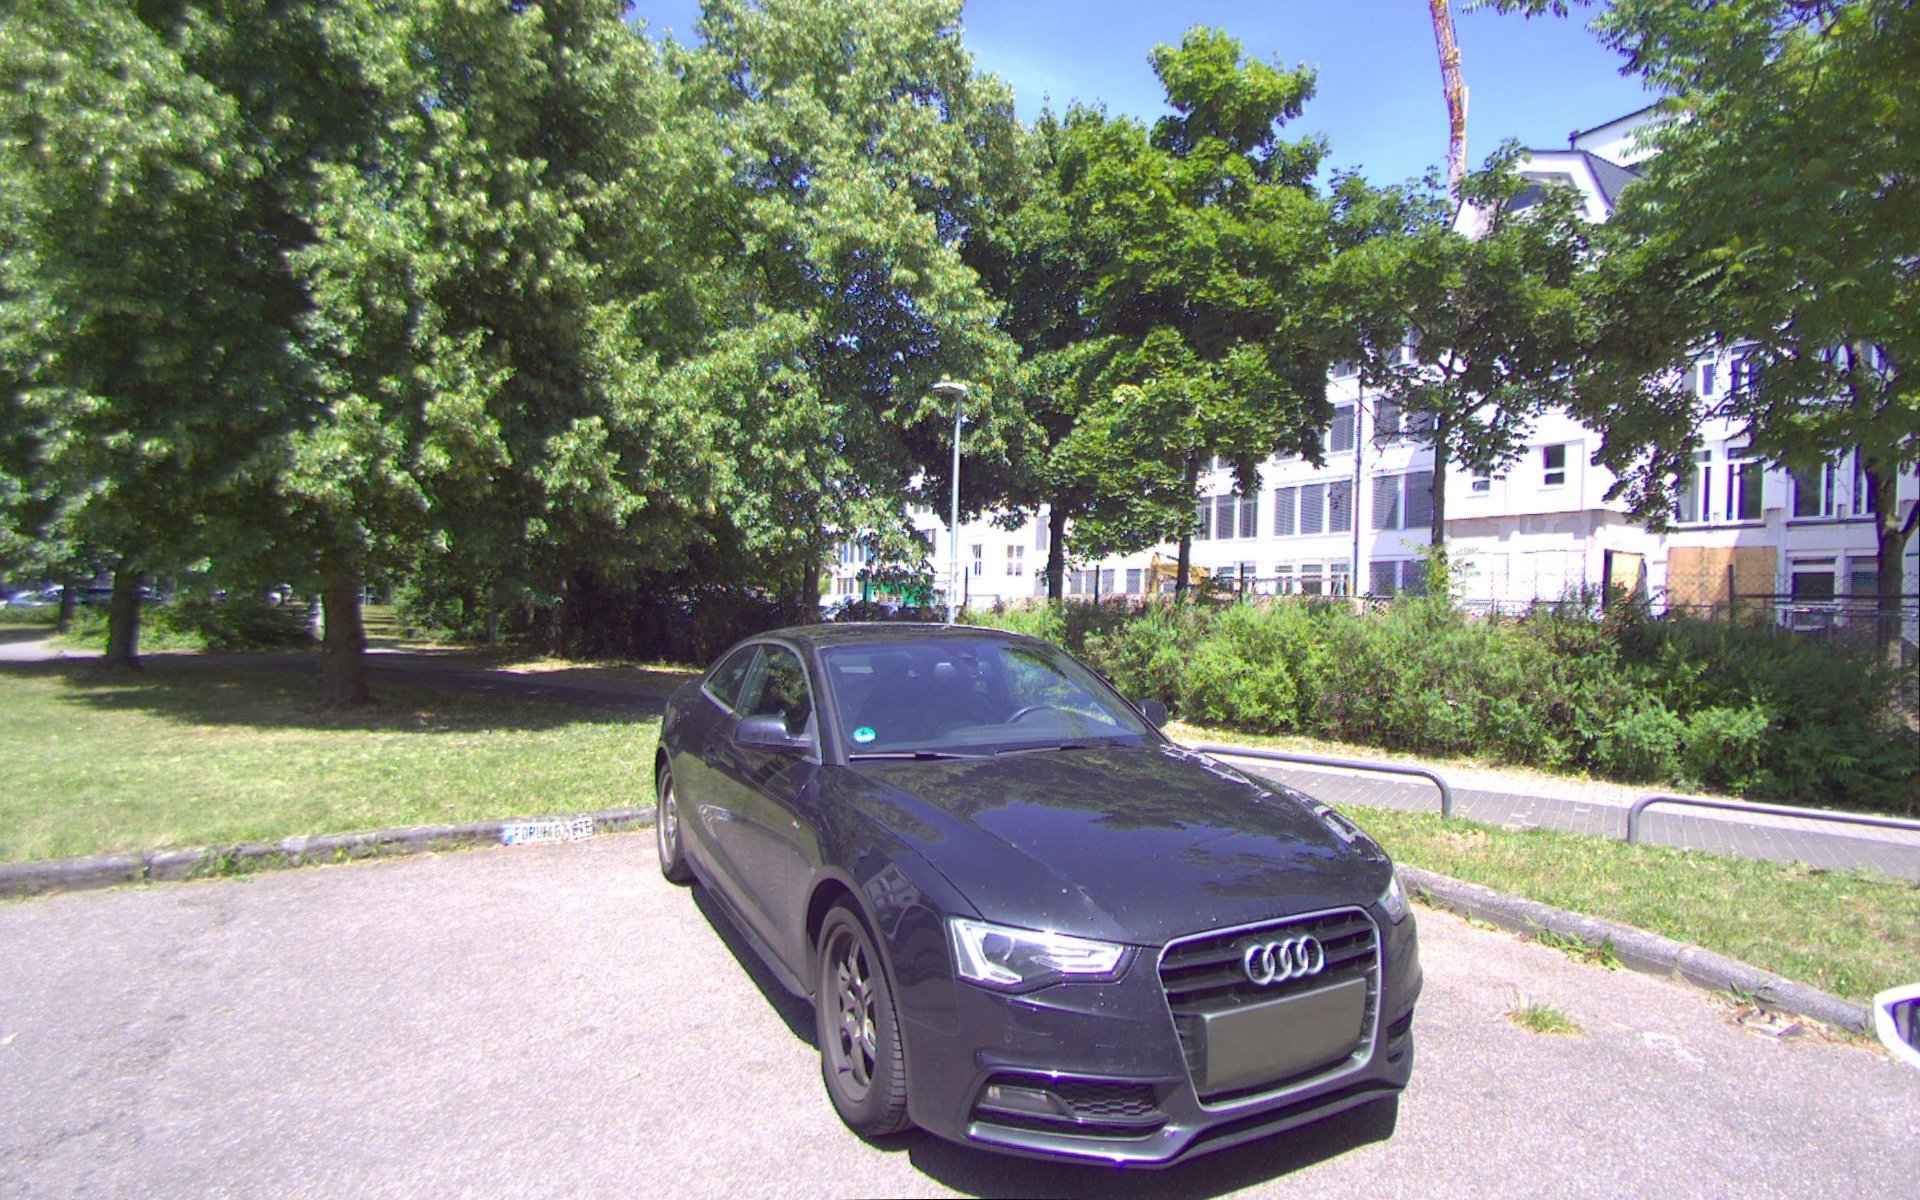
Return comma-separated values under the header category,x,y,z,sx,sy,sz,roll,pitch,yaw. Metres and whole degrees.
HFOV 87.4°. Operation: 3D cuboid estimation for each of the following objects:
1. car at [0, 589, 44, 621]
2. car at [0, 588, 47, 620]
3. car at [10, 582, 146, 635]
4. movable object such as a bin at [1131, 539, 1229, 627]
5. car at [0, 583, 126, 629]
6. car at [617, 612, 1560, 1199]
category,x,y,z,sx,sy,sz,roll,pitch,yaw
car,-49.813,0.193,51.437,3.956,1.550,1.731,3,-1,-32
car,-51.547,0.171,53.643,3.852,1.652,1.521,3,-1,-32
car,-37.013,0.352,42.302,3.956,2.040,1.983,3,-1,-32
movable object such as a bin,11.743,-0.886,54.171,1.974,4.430,5.686,2,-1,-25
car,-35.331,0.226,38.941,4.293,1.631,1.917,3,-1,-32
car,-0.144,0.792,4.416,1.998,1.398,4.413,0,0,-27
